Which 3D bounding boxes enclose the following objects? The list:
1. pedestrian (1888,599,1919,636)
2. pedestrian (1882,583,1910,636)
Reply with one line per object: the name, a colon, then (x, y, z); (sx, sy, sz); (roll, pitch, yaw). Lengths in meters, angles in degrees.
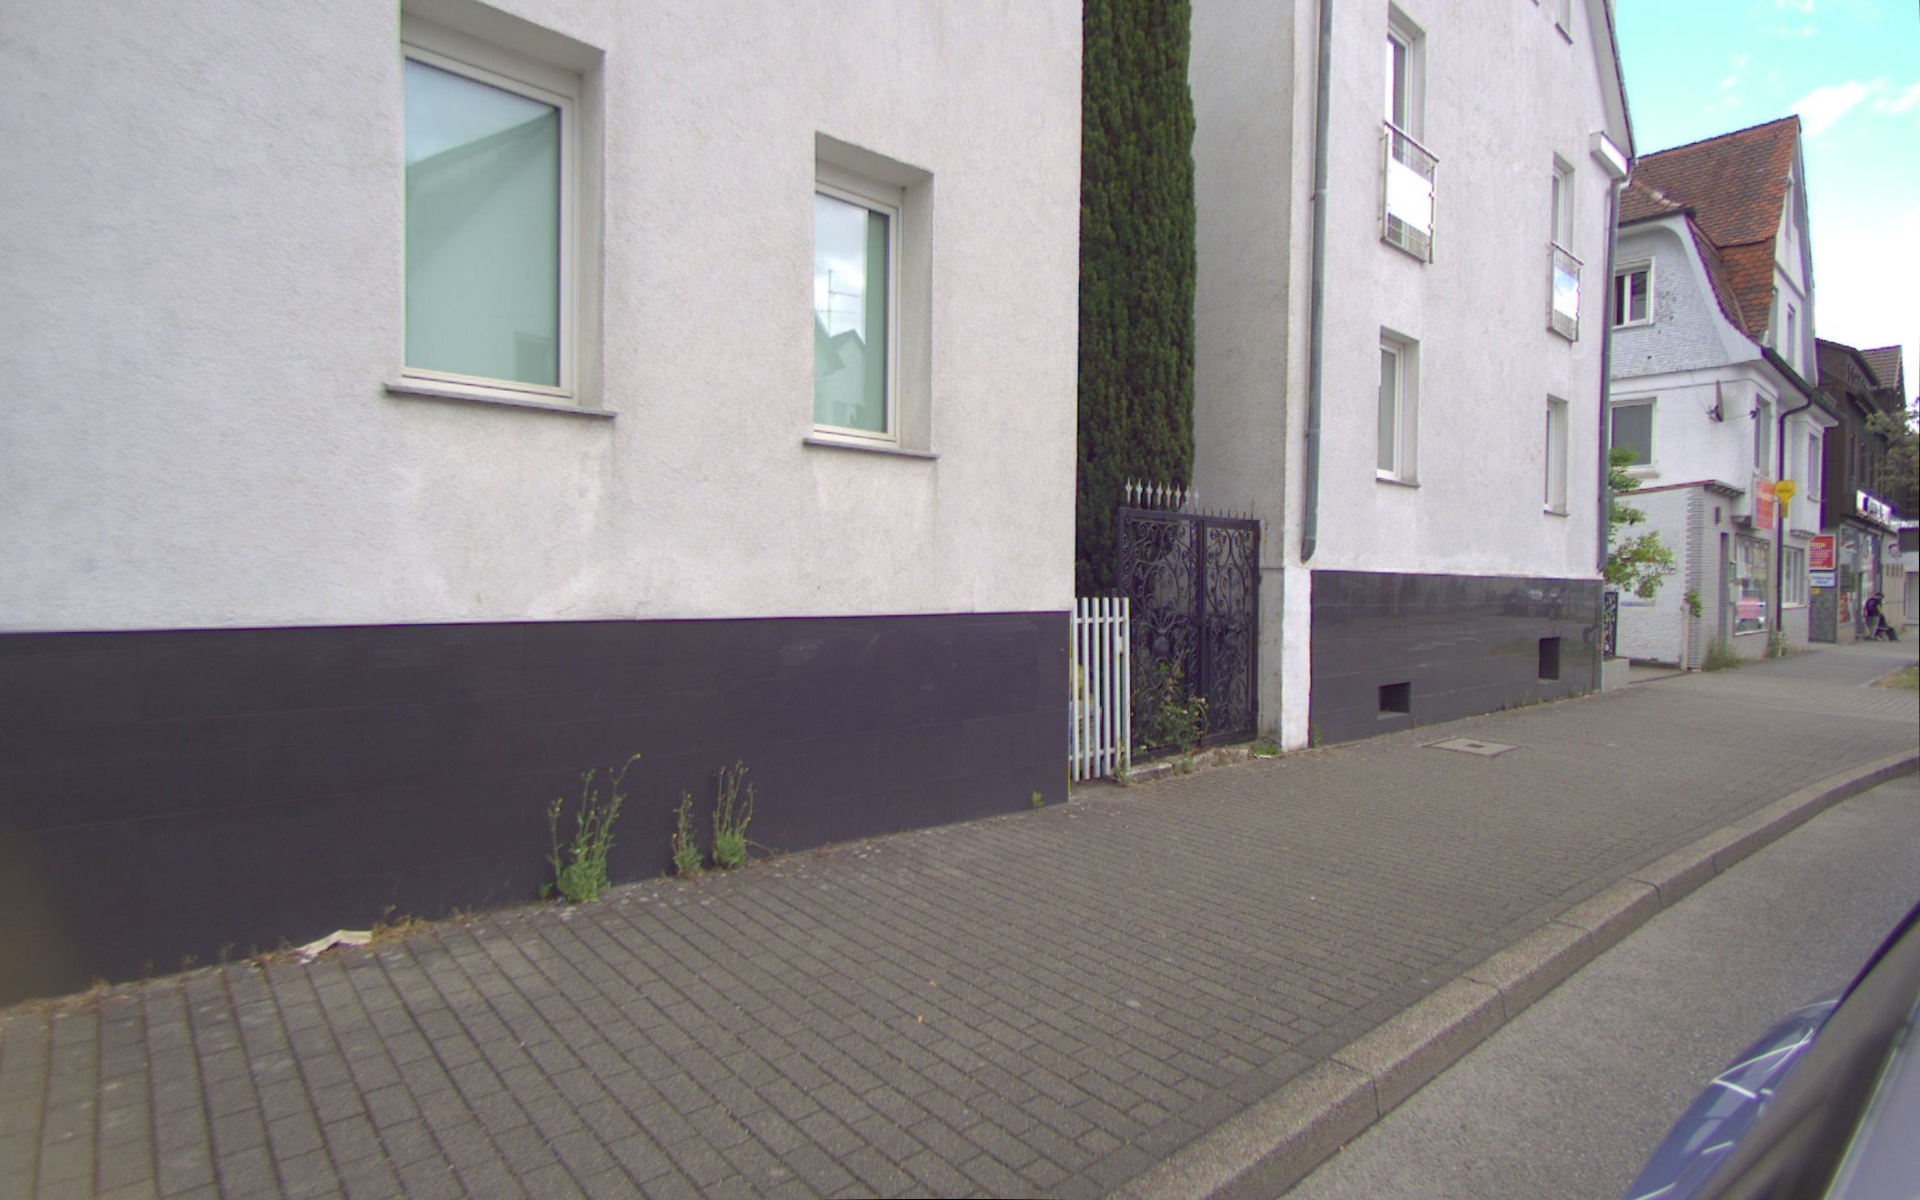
pedestrian: (32.731, 0.602, 35.079); (0.633, 1.226, 0.741); (0, 2, -42)
pedestrian: (32.050, 0.308, 34.660); (0.642, 1.762, 0.731); (3, 2, 43)
